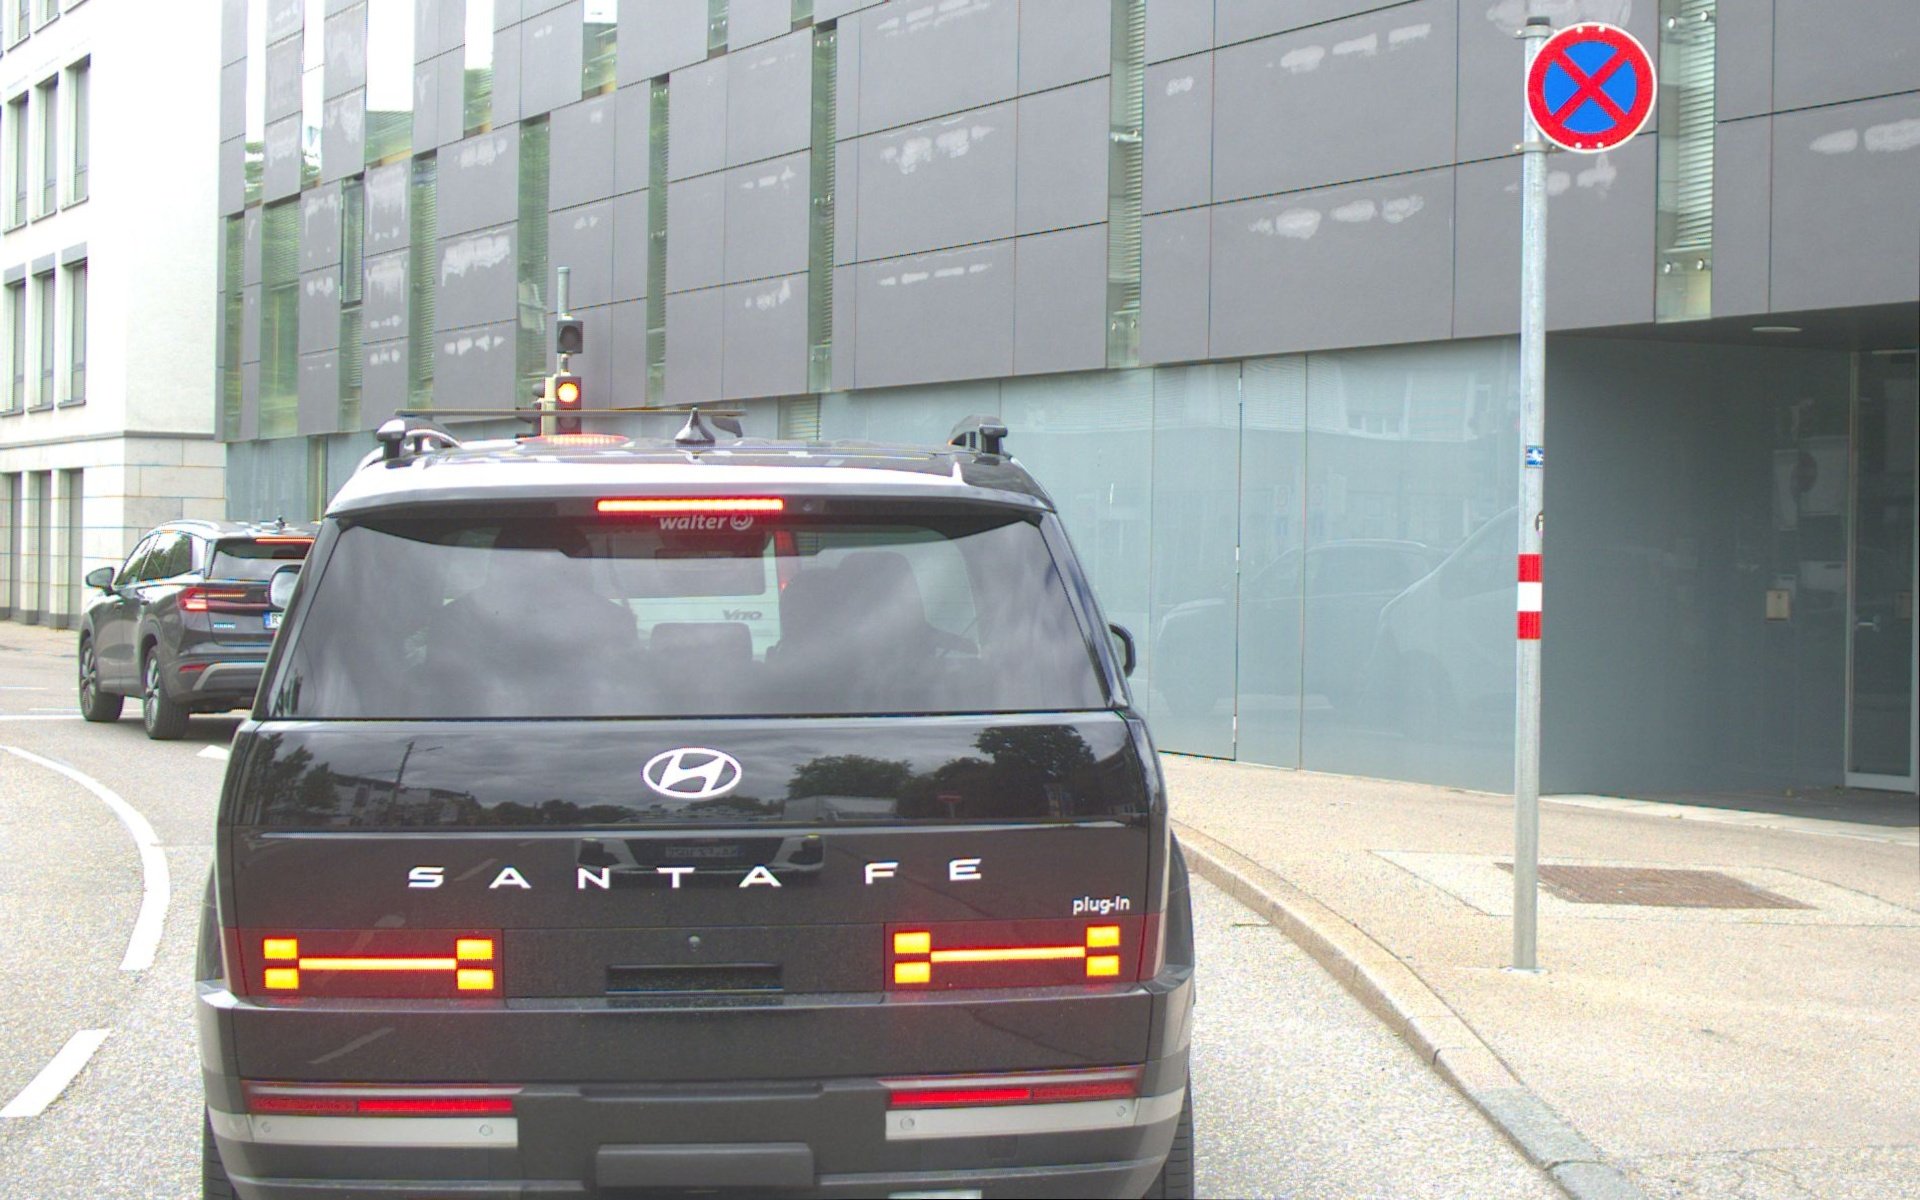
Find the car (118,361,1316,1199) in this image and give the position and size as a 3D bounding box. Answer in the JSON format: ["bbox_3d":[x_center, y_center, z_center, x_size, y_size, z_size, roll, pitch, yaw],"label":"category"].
[{"bbox_3d":[-0.531,0.471,7.760,1.915,1.719,4.171,2,1,-4],"label":"car"}]

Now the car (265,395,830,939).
[{"bbox_3d":[-1.979,0.202,15.165,1.855,2.026,4.439,0,1,-15],"label":"car"}]

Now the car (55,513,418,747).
[{"bbox_3d":[-5.762,0.188,26.987,1.847,1.671,4.376,-1,1,-25],"label":"car"}]
